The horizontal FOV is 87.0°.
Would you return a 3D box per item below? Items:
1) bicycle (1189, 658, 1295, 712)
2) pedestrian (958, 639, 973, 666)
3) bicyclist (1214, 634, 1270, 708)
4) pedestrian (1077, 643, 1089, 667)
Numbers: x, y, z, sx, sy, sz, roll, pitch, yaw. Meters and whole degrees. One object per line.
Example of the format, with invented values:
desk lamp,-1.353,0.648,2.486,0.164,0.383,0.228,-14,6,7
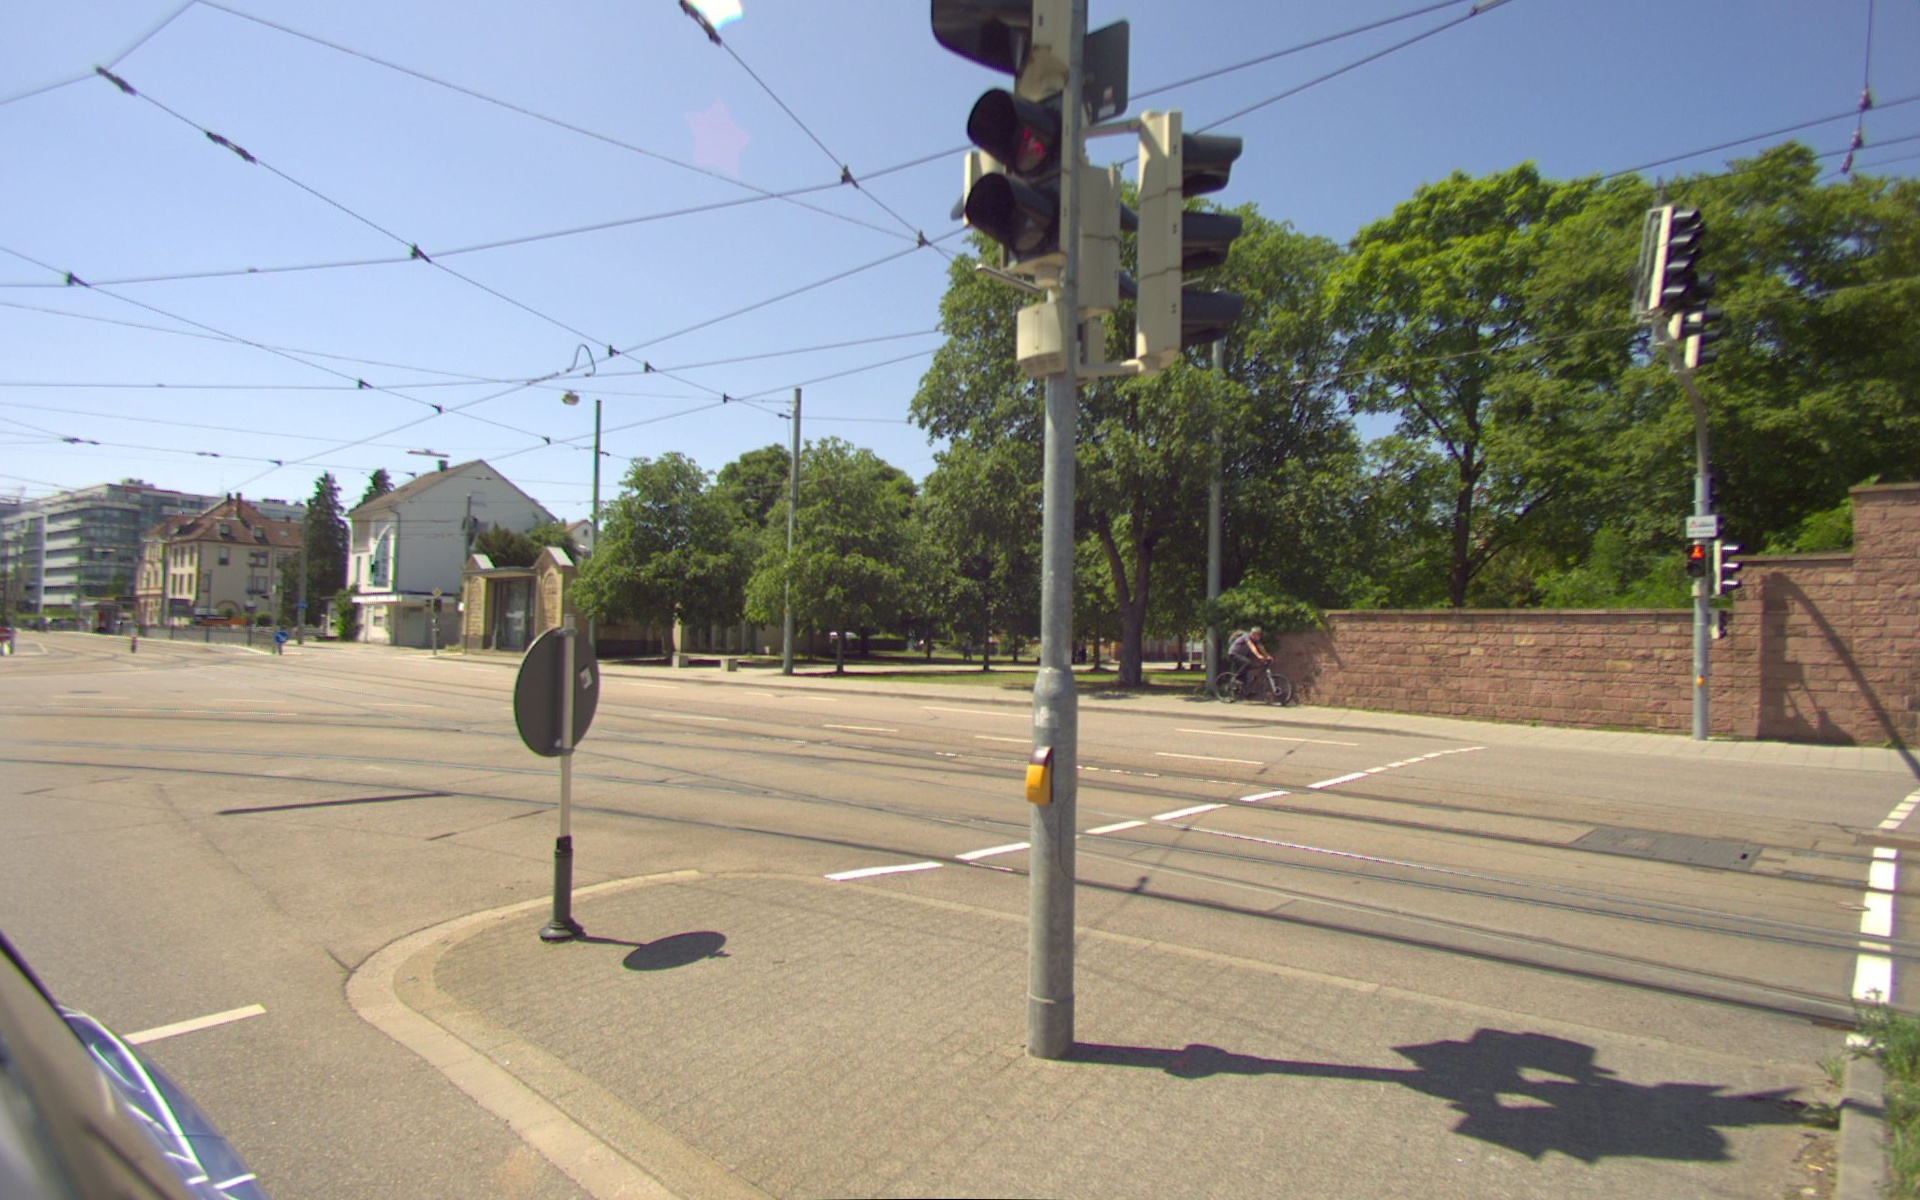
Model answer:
bicycle,6.012,1.784,21.656,2.104,1.049,0.707,-1,-3,44
pedestrian,0.326,3.208,61.664,0.712,1.660,0.521,-2,-4,43
bicyclist,6.040,1.505,21.679,0.845,1.542,0.841,-1,-3,44
pedestrian,7.971,3.571,65.713,0.532,1.495,0.521,-1,-3,41
